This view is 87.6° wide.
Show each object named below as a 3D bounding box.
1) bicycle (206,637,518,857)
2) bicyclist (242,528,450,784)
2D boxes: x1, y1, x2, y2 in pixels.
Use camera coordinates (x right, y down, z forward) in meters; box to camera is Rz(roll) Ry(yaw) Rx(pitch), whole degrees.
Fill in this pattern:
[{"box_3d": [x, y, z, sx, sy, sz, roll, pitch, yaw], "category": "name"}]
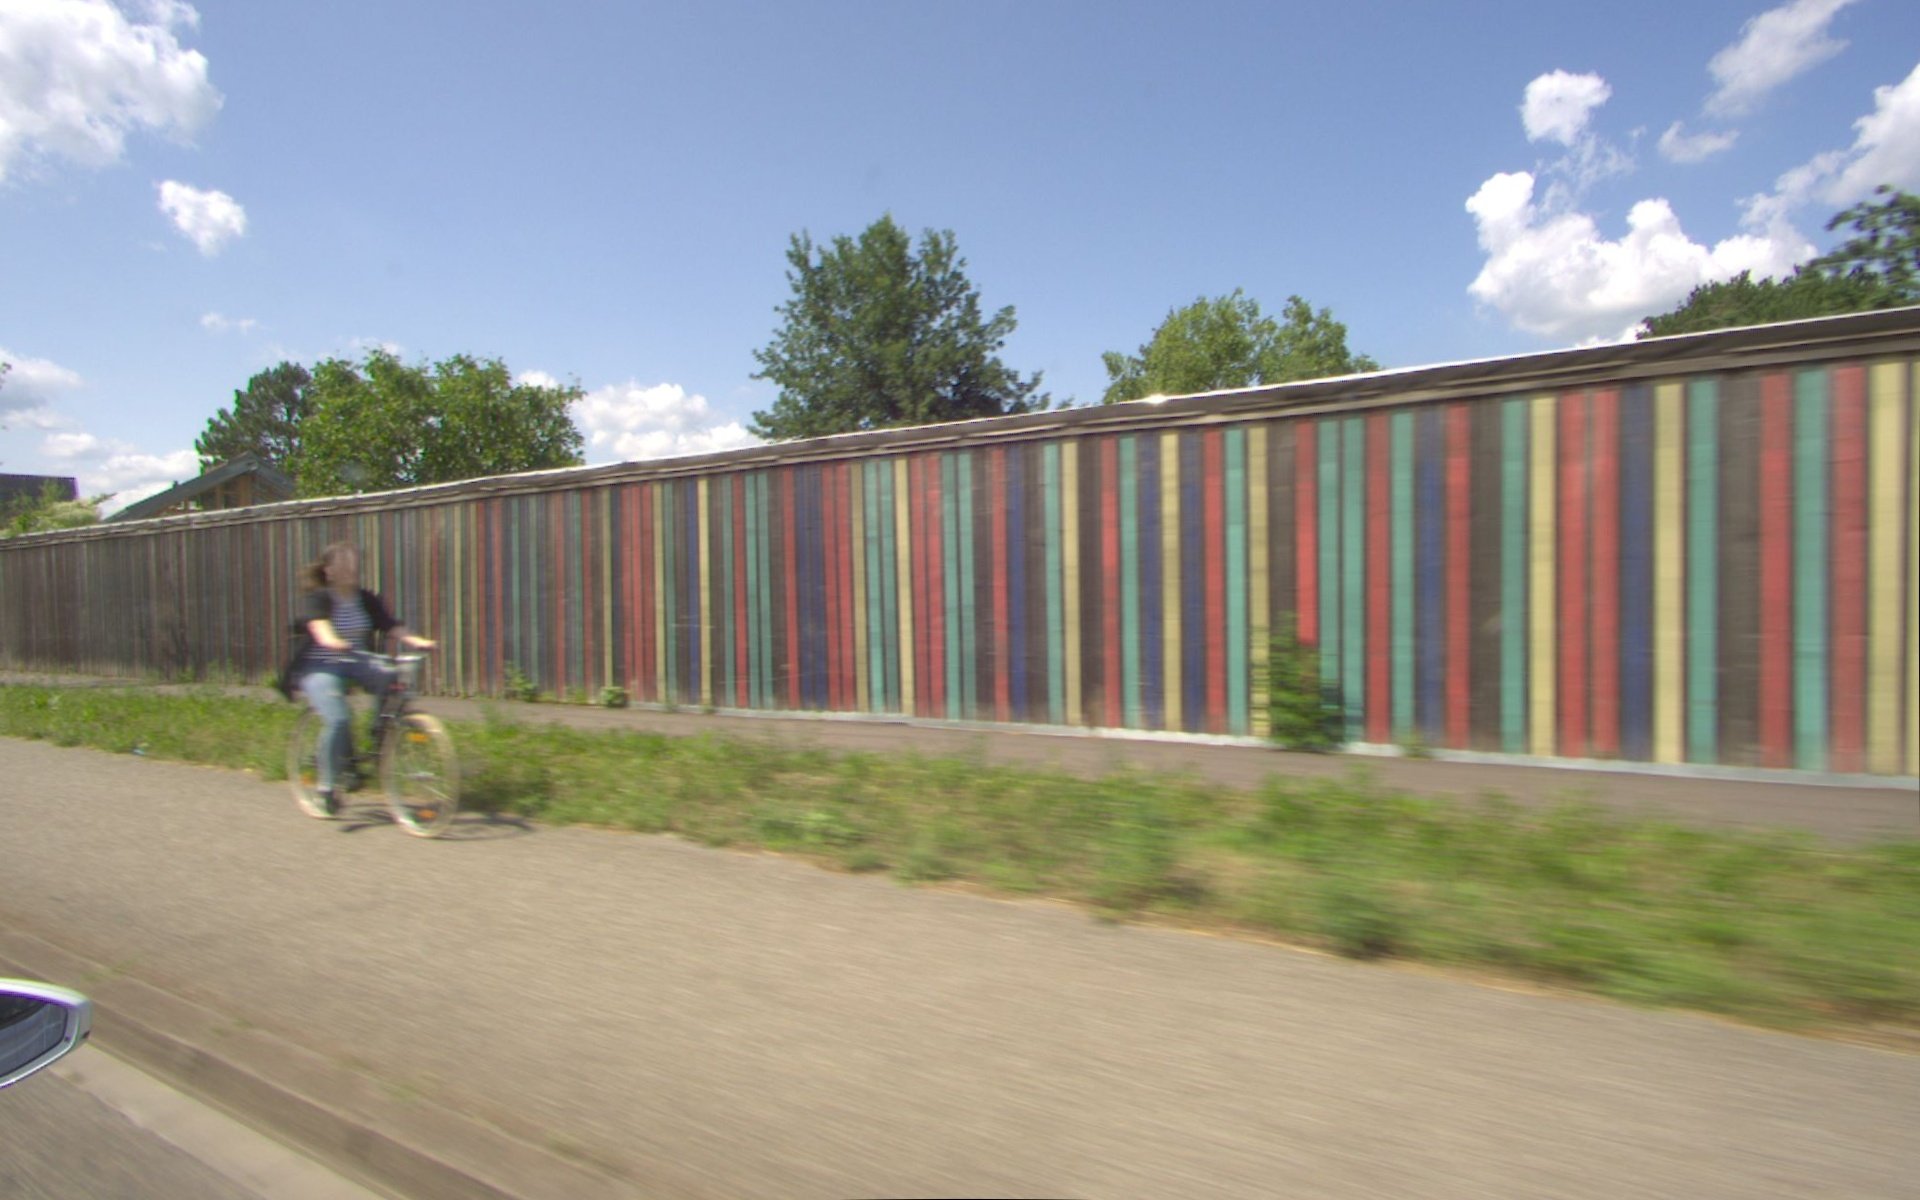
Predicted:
[{"box_3d": [-3.699, 0.805, 6.113, 2.246, 1.082, 0.644, -1, 3, 32], "category": "bicycle"}, {"box_3d": [-3.740, 0.307, 6.106, 0.972, 1.431, 0.652, 0, 3, 32], "category": "bicyclist"}]
